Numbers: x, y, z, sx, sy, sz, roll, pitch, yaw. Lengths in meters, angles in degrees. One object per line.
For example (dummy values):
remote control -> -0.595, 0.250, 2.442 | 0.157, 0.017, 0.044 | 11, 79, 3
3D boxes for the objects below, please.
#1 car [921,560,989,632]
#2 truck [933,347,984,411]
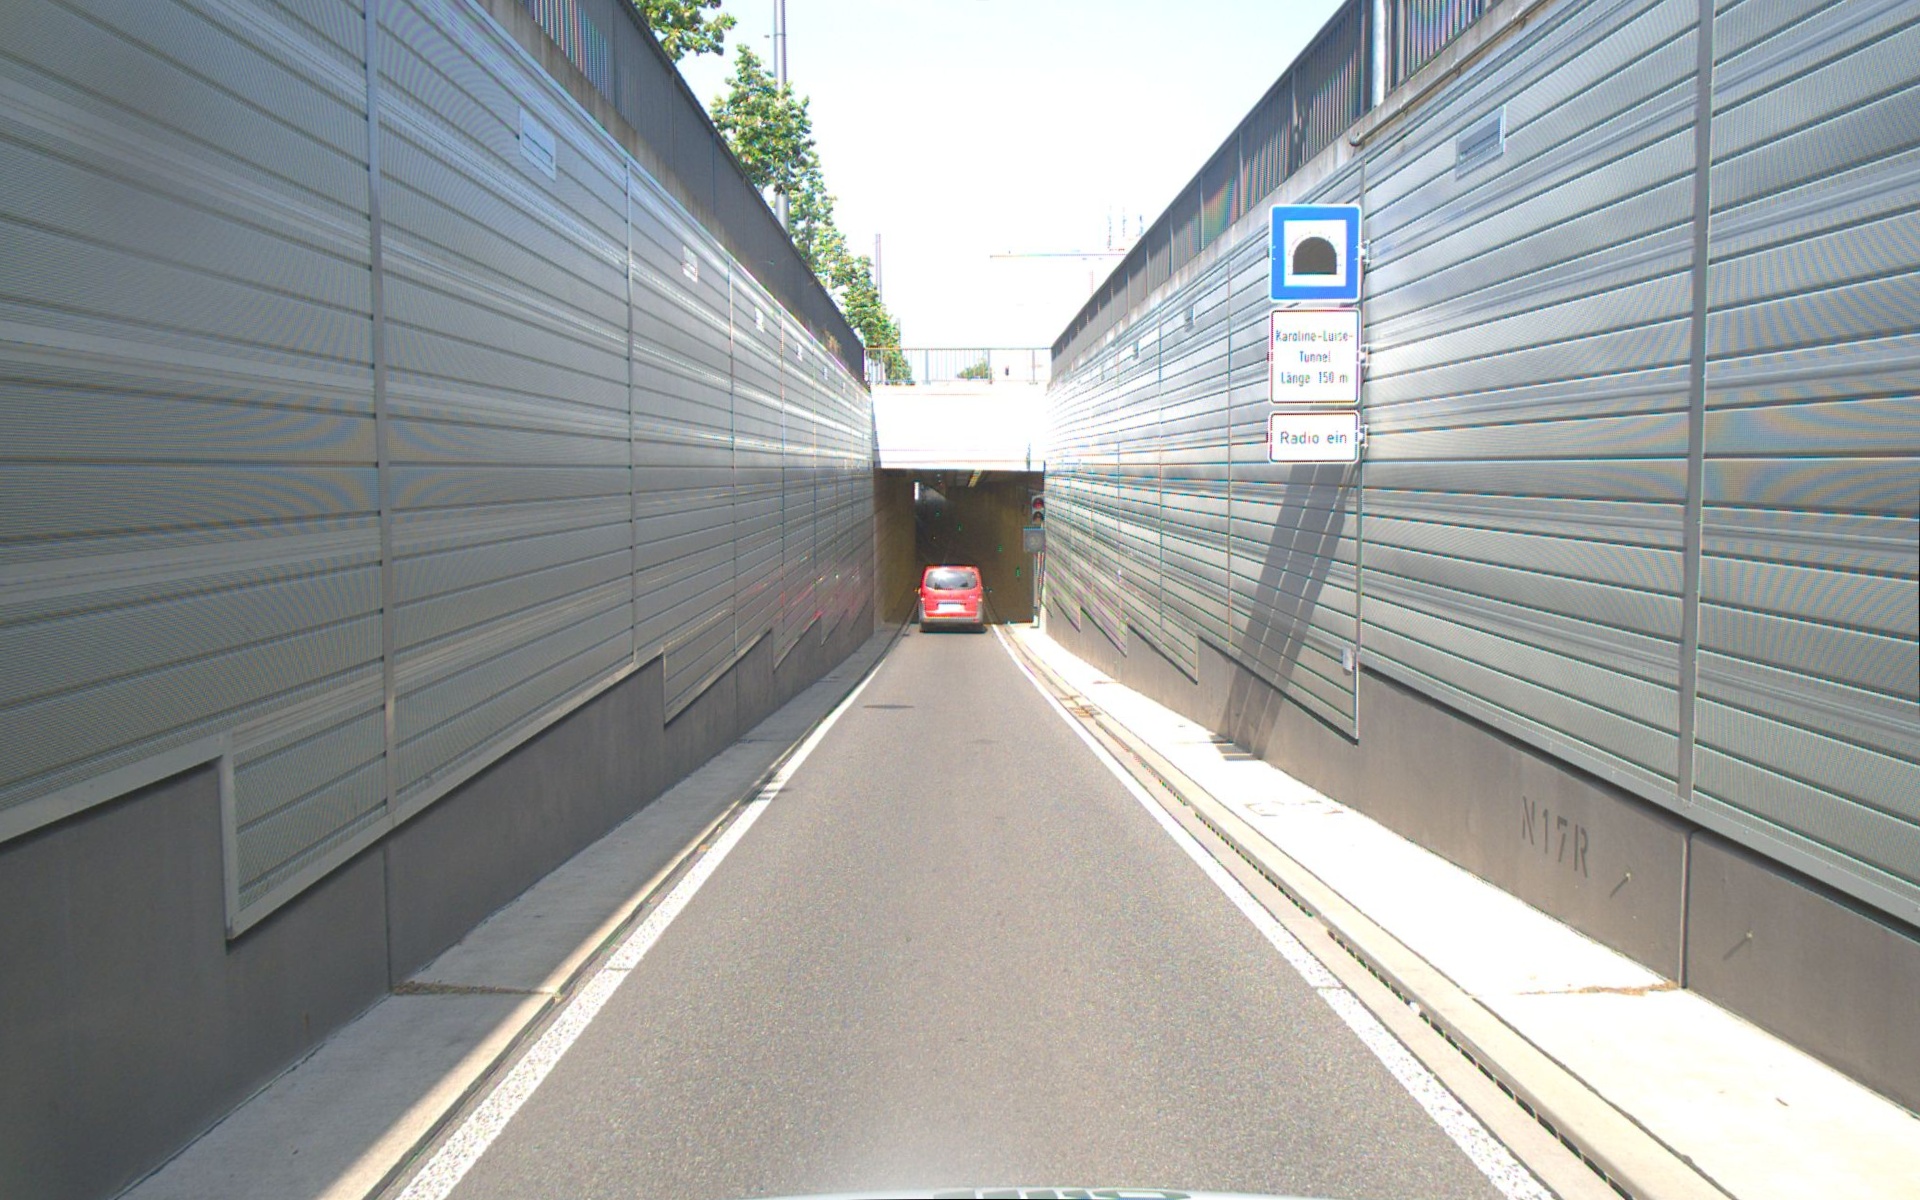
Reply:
car -> -0.183, -0.168, 48.415 | 1.862, 1.891, 4.000 | 1, 3, -1
truck -> -0.167, -15.250, 114.684 | 3.322, 3.789, 10.455 | -1, 4, -1
